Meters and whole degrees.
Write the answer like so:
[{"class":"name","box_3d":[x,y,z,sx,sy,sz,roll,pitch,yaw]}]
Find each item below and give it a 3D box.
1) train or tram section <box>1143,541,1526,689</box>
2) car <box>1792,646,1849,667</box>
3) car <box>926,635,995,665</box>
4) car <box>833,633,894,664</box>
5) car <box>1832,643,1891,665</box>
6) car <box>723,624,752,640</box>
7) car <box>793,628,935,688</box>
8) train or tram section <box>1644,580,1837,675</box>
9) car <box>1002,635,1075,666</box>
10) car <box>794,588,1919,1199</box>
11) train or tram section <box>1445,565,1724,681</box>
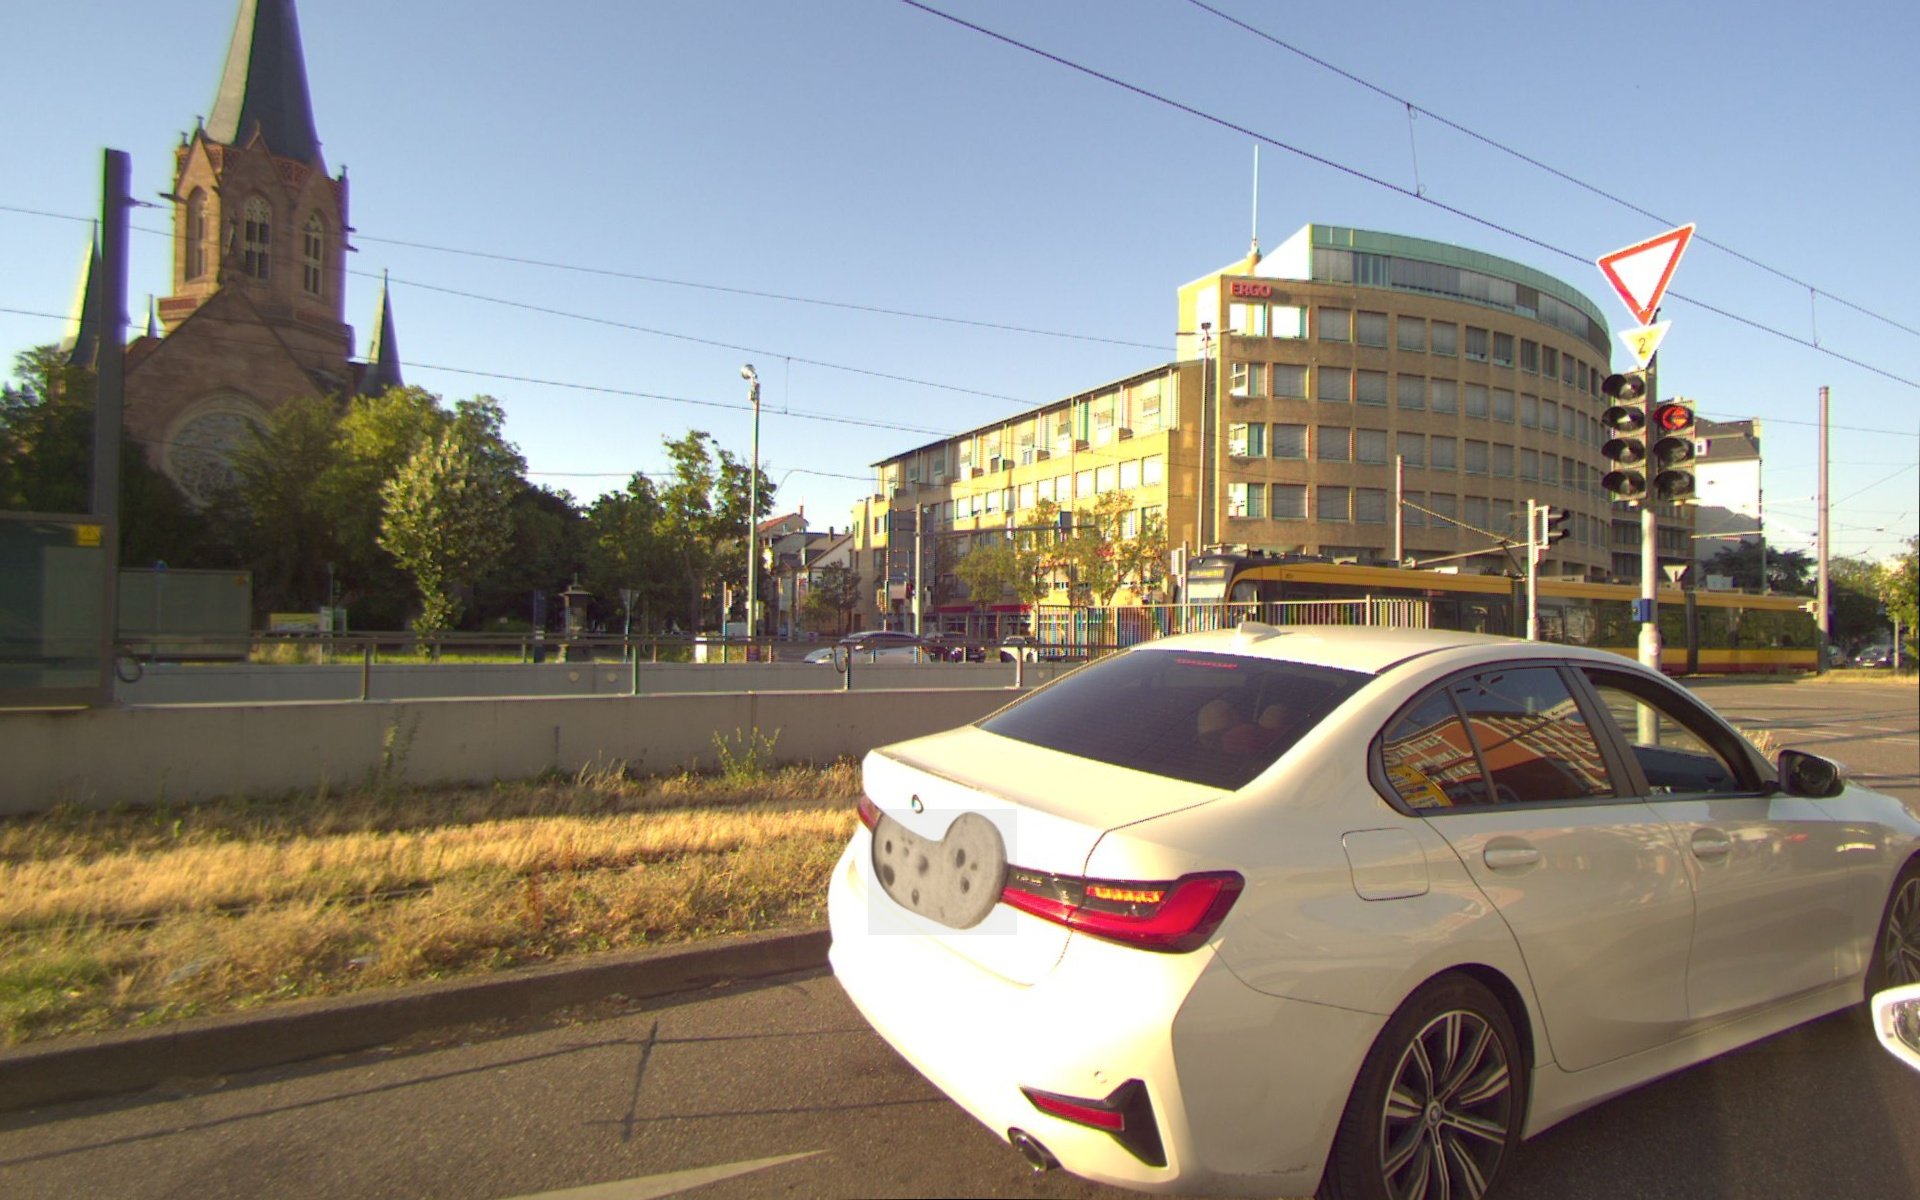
[{"class":"train or tram section","box_3d":[11.193,0.549,28.899,13.098,3.582,2.759,2,-1,-31]},{"class":"car","box_3d":[50.086,3.259,58.440,3.558,1.169,1.512,2,-1,-32]},{"class":"car","box_3d":[-0.020,2.518,51.296,1.880,1.439,3.970,2,-2,-29]},{"class":"car","box_3d":[-5.243,2.601,54.324,1.804,1.606,3.969,1,-2,-30]},{"class":"car","box_3d":[55.454,3.288,61.794,3.695,1.298,1.638,1,-2,-30]},{"class":"car","box_3d":[-27.573,3.946,124.296,2.207,2.040,4.565,1,-2,-30]},{"class":"car","box_3d":[-2.713,1.617,28.460,3.629,1.561,1.703,2,-2,-30]},{"class":"train or tram section","box_3d":[32.566,1.176,41.706,10.449,3.582,2.759,2,-1,-31]},{"class":"car","box_3d":[3.857,2.491,50.129,1.877,1.439,3.974,2,-2,-26]},{"class":"car","box_3d":[1.858,0.755,3.746,4.530,1.419,1.829,2,1,-30]},{"class":"train or tram section","box_3d":[22.471,0.896,35.639,13.098,3.582,2.759,2,-1,-31]}]
